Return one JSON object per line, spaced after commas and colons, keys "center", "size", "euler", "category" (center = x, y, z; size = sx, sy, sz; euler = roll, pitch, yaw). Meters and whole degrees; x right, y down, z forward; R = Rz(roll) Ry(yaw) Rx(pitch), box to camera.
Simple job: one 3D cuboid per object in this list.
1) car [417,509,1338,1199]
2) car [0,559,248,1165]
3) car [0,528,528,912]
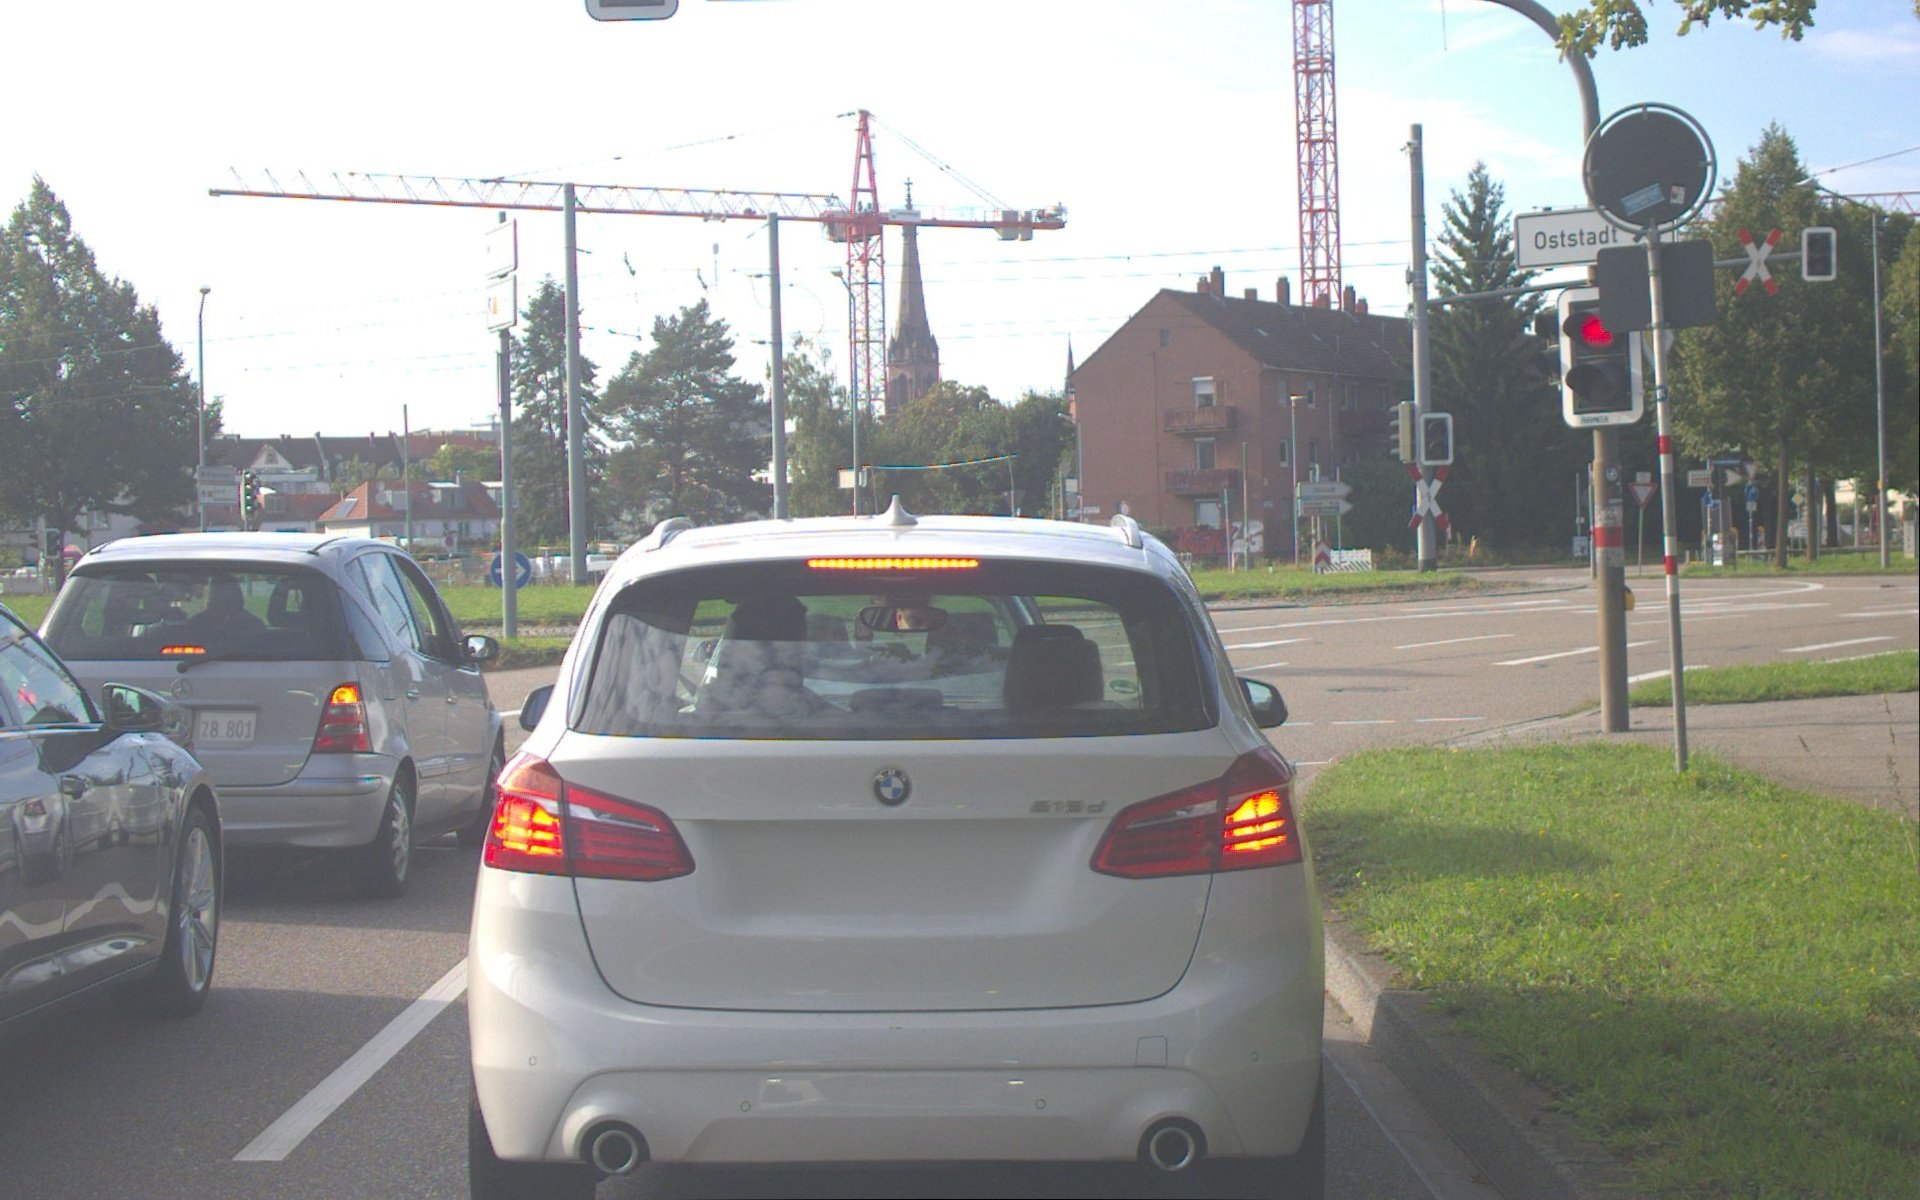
{"center": [-0.182, 0.571, 8.493], "size": [1.729, 1.553, 4.058], "euler": [0, 1, -1], "category": "car"}
{"center": [-3.298, 0.631, 9.195], "size": [1.890, 1.478, 4.613], "euler": [0, 1, -1], "category": "car"}
{"center": [-3.120, 0.451, 15.970], "size": [1.729, 1.553, 4.058], "euler": [0, 1, 0], "category": "car"}
